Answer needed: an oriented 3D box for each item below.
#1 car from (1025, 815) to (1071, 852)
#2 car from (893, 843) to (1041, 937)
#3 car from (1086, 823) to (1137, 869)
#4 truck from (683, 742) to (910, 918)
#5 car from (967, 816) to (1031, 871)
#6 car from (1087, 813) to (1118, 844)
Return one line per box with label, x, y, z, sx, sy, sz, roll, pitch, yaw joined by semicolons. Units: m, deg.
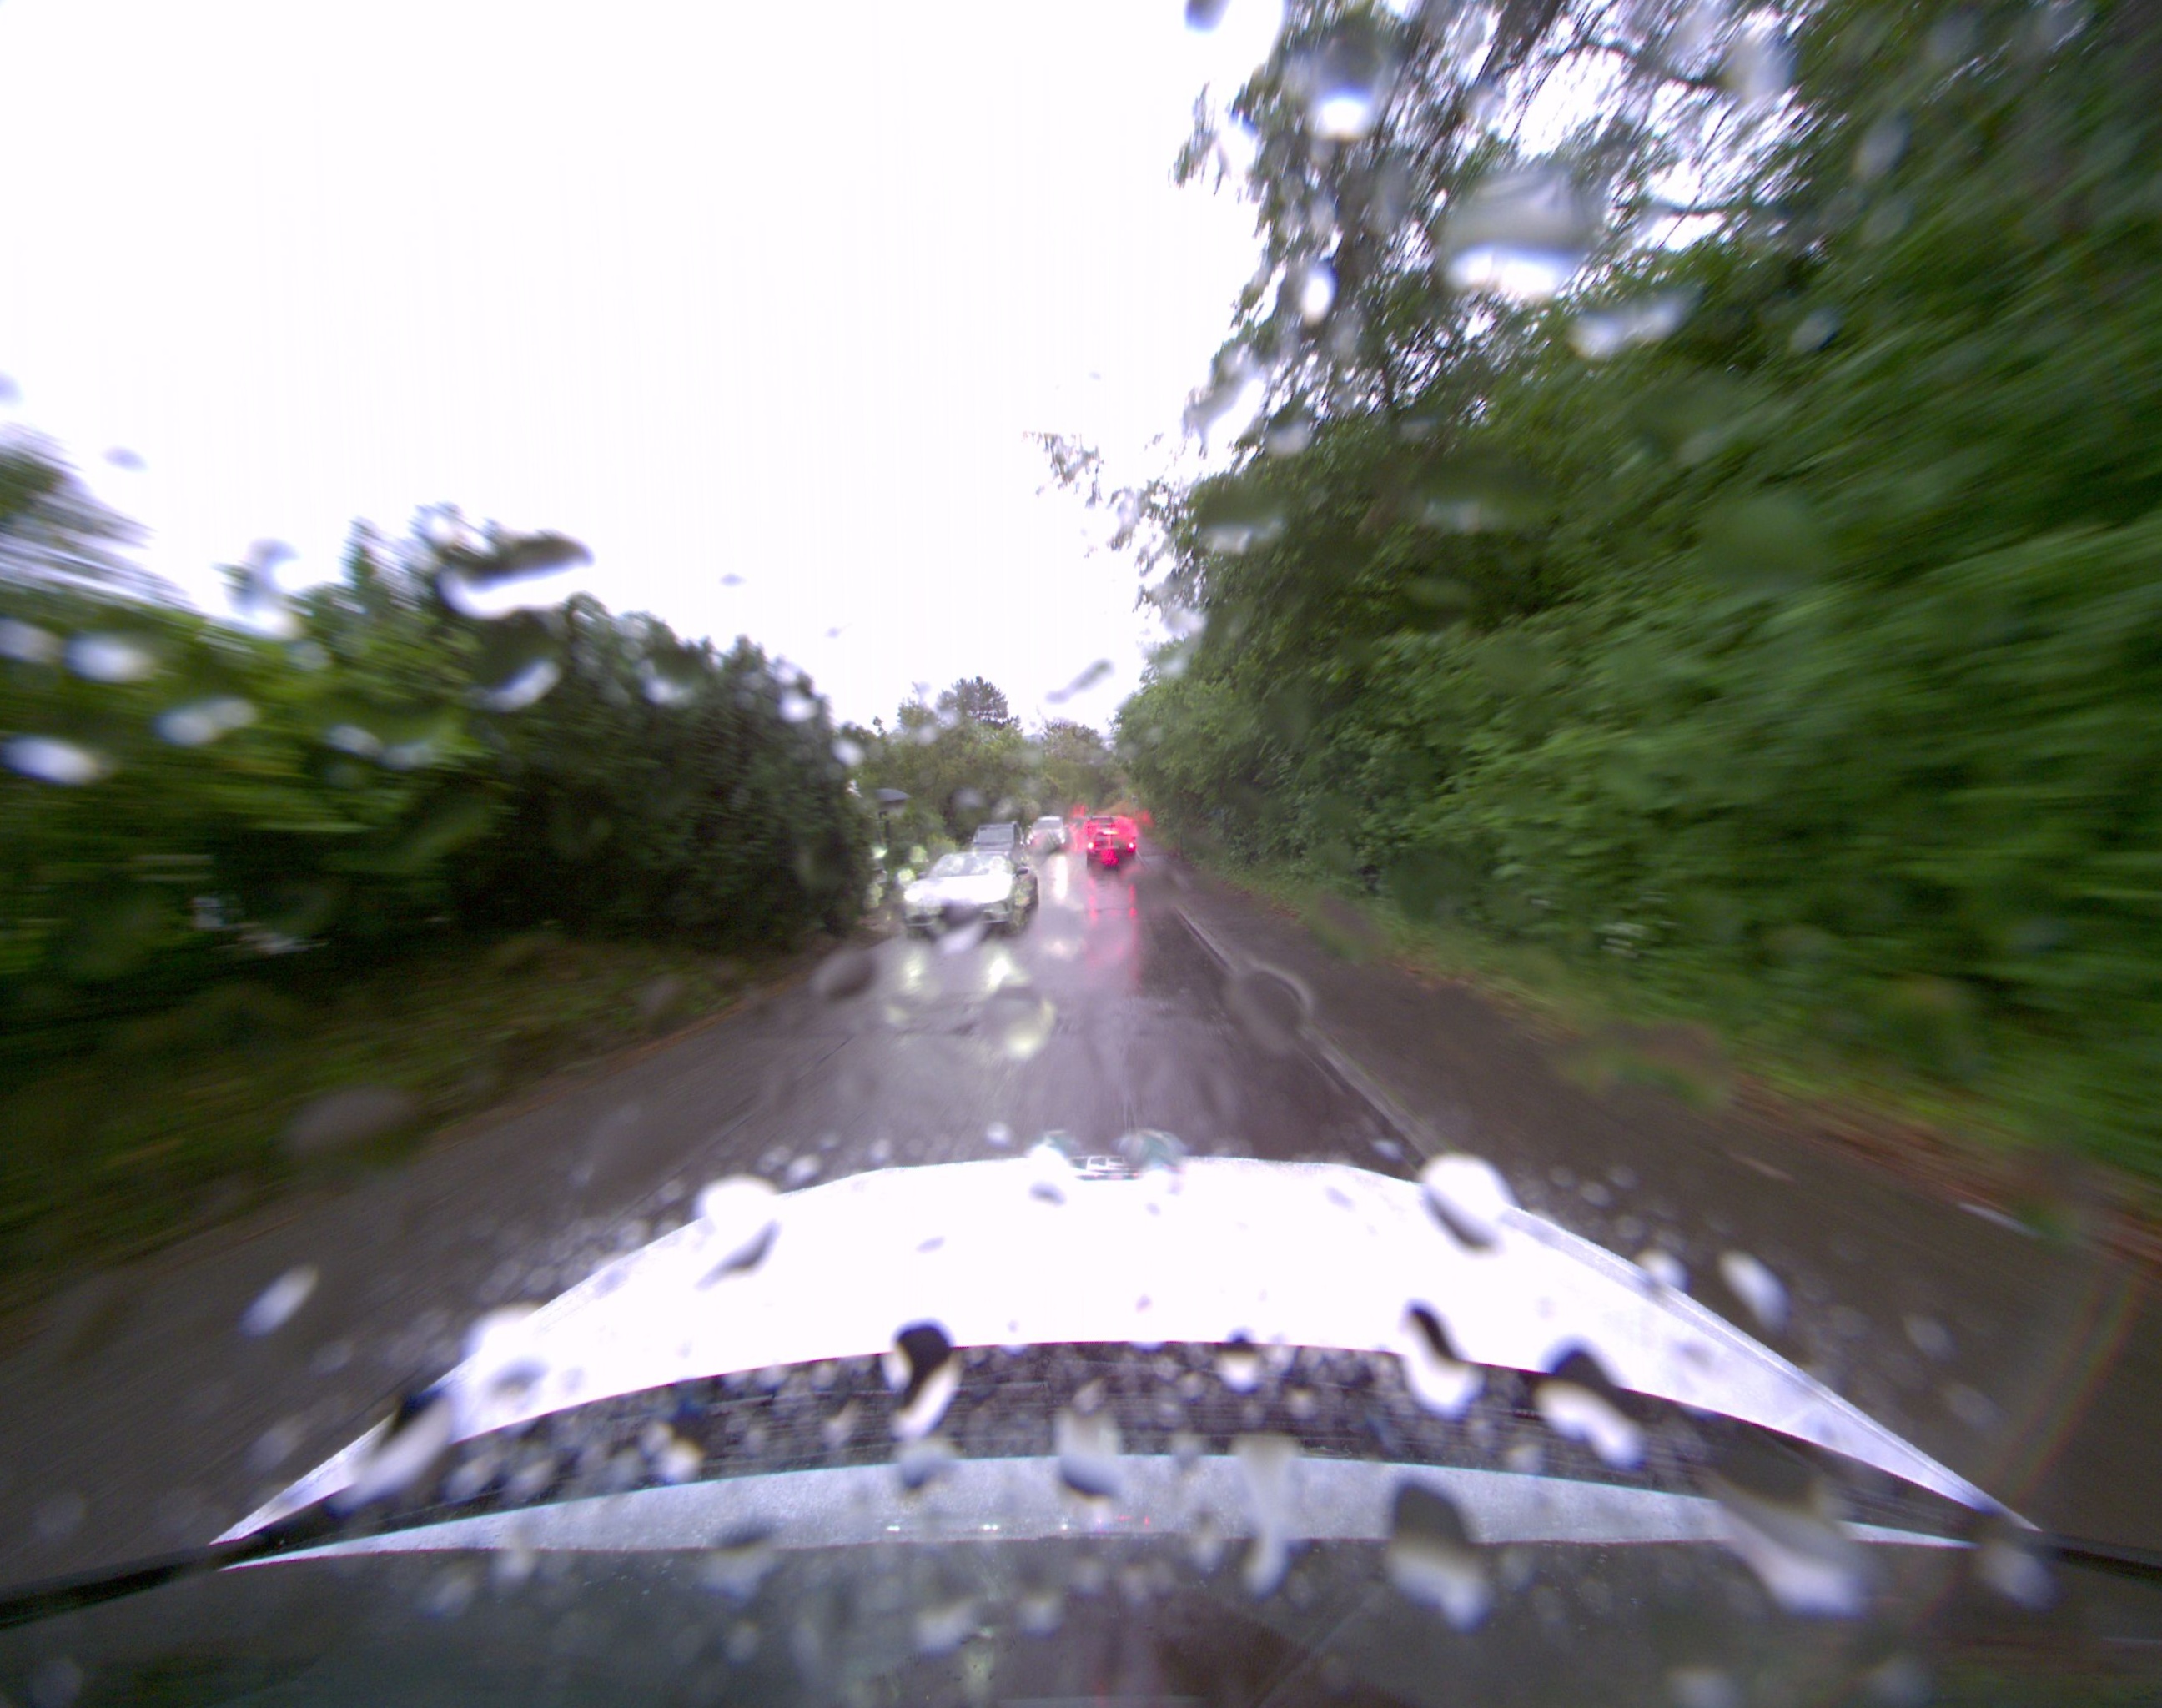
car;-1.563;-1.052;40.080;2.041;1.600;4.231;0;4;1
car;-2.005;0.640;15.797;1.933;1.522;4.583;-2;-1;3
car;1.132;-0.334;30.107;1.693;1.450;4.004;-2;3;2
truck;-7.809;-0.811;21.489;2.689;3.808;8.037;-1;5;-42
car;-2.944;-0.458;30.076;1.683;1.782;4.236;-3;3;2
car;1.326;-1.568;51.524;1.856;1.743;4.000;-2;-1;1
